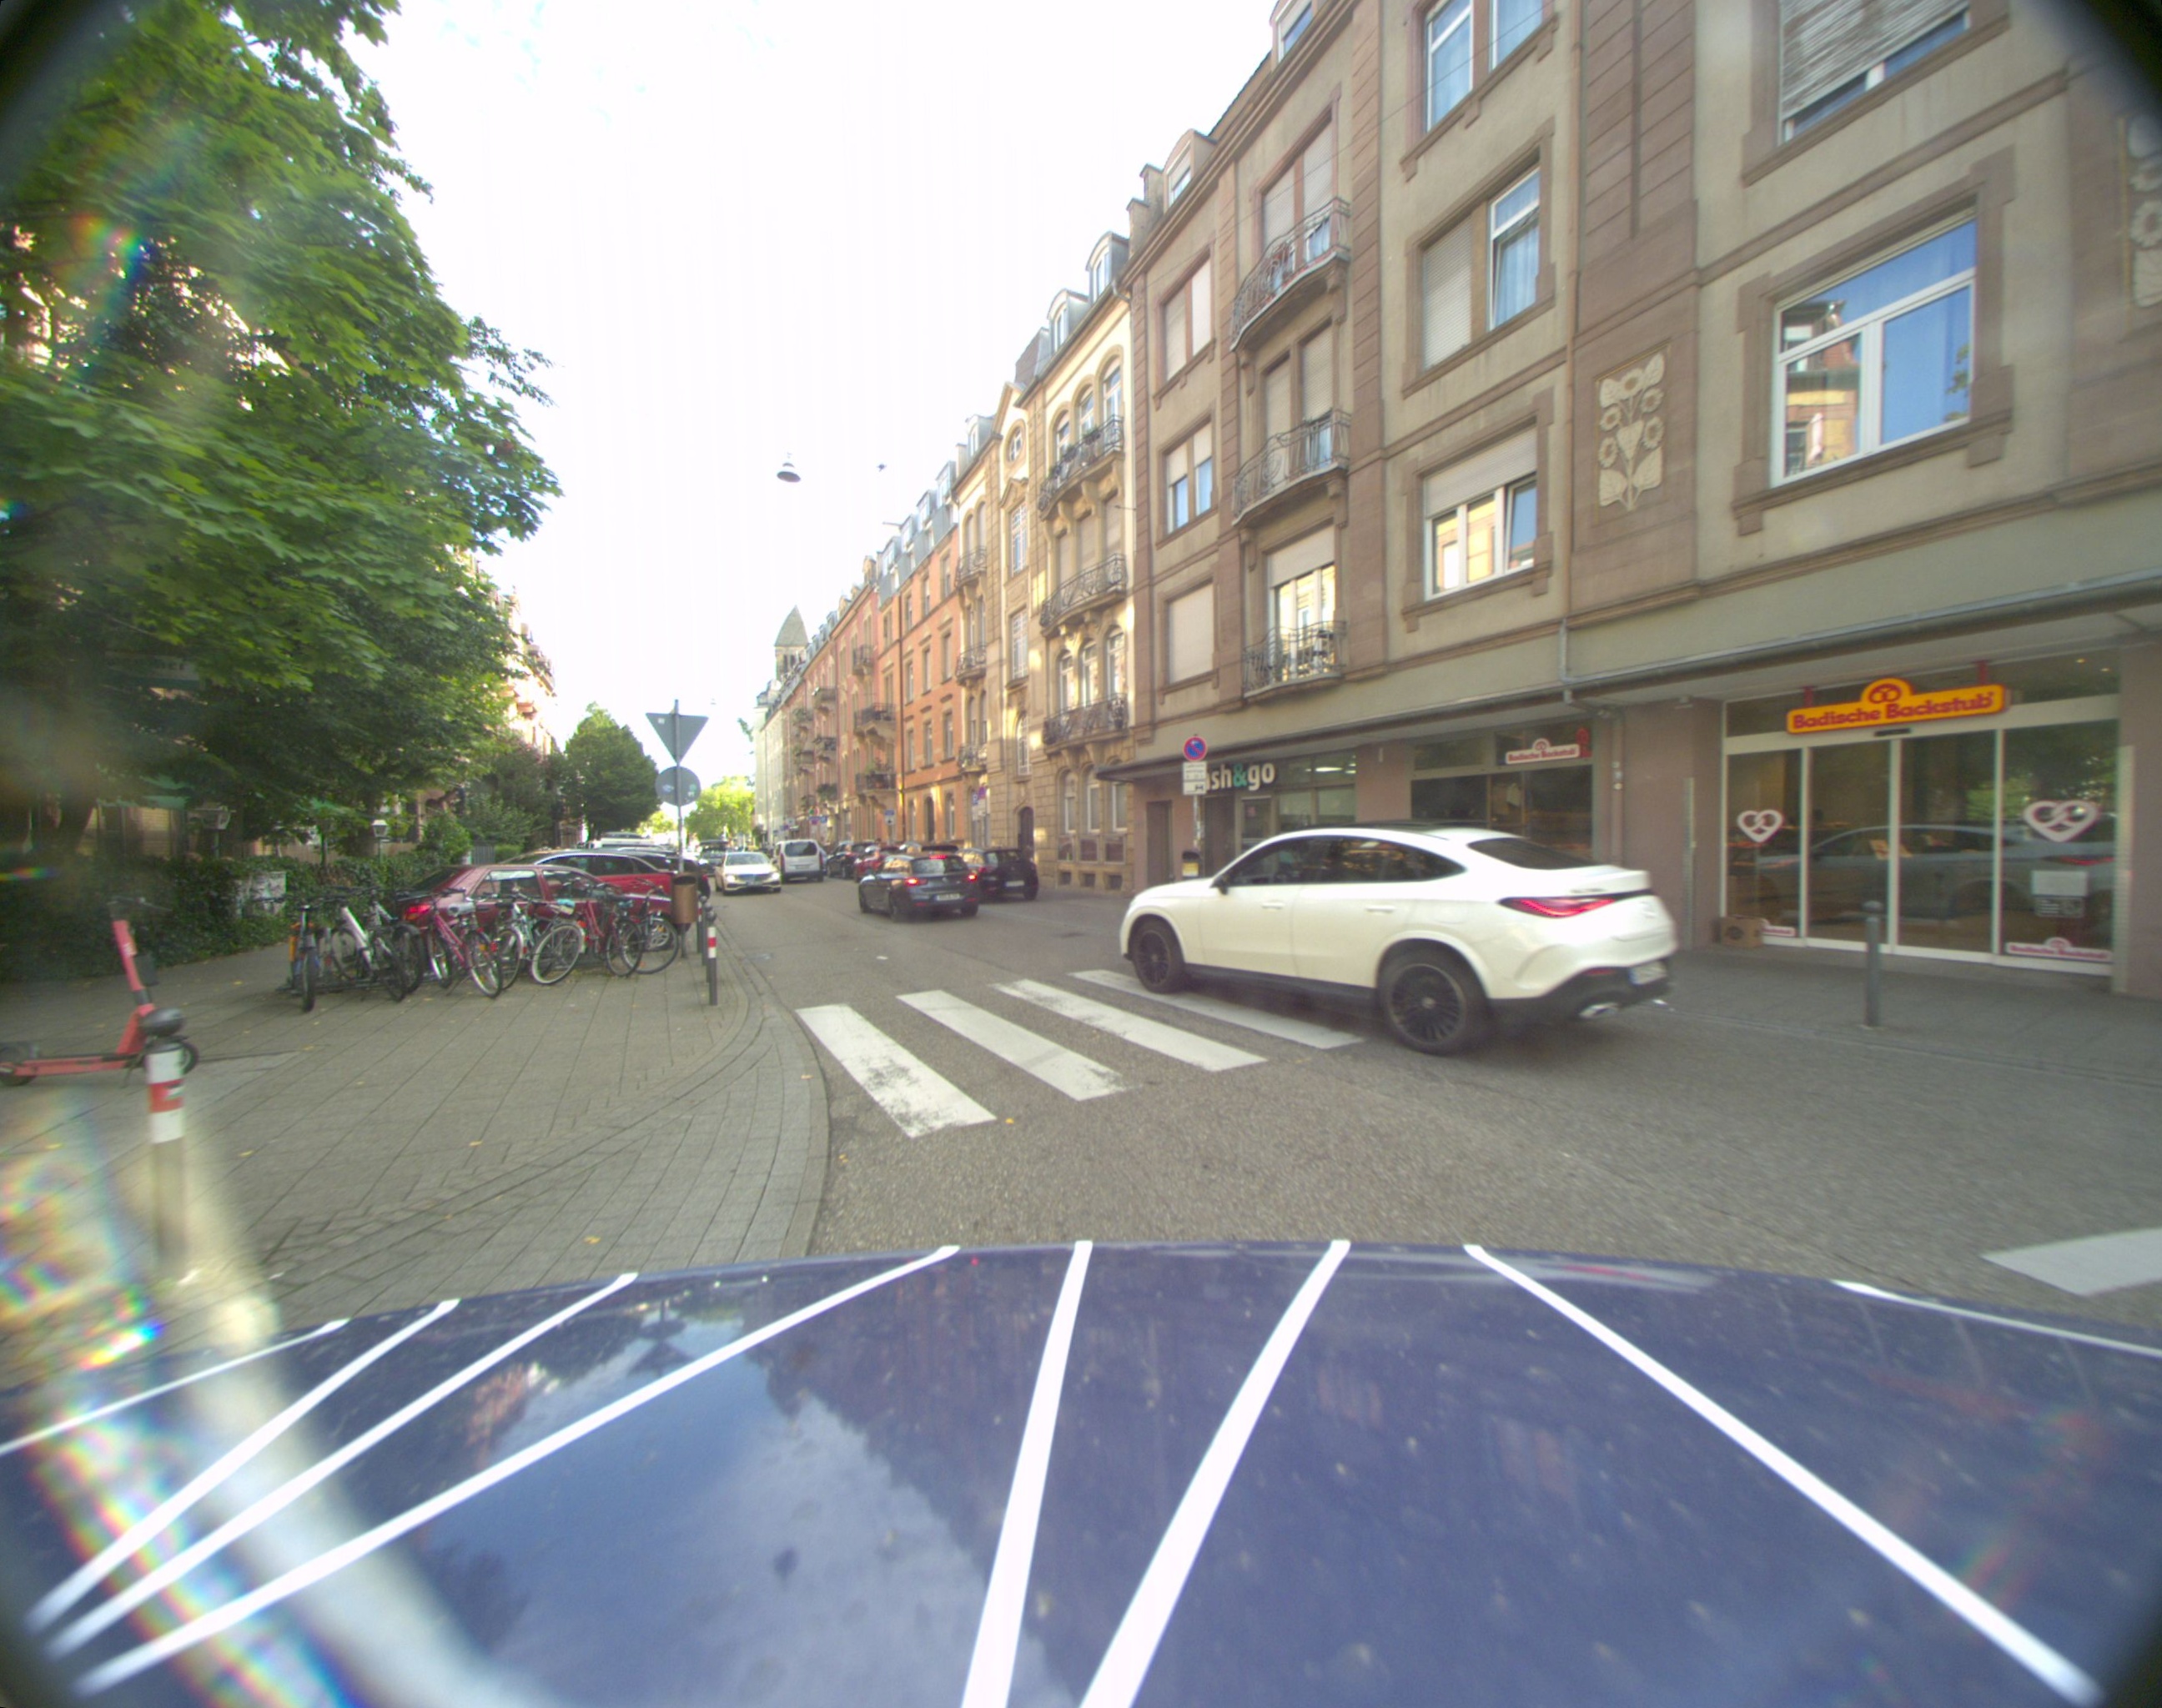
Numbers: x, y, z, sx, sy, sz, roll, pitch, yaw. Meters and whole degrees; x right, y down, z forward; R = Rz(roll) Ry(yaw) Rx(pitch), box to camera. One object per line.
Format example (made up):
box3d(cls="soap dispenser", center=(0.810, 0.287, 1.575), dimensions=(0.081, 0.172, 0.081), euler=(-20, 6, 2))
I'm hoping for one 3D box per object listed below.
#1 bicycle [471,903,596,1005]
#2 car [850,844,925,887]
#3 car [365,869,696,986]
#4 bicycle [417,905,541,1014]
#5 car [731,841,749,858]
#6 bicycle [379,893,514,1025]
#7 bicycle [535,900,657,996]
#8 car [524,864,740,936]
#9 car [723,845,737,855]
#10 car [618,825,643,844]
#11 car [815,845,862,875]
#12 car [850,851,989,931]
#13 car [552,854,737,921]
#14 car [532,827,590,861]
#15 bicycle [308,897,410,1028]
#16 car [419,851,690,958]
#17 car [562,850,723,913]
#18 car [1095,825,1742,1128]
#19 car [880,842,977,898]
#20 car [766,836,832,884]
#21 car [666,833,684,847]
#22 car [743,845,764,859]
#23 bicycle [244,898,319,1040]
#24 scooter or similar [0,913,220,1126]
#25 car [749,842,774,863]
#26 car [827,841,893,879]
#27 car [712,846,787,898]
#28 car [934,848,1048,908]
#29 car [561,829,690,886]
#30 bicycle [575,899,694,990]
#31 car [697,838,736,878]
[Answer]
box3d(cls="bicycle", center=(-6.369, 1.111, 8.804), dimensions=(1.860, 0.979, 0.473), euler=(1, 1, 31))
box3d(cls="car", center=(-7.602, 0.389, 29.634), dimensions=(1.765, 1.488, 4.123), euler=(-3, 2, -29))
box3d(cls="car", center=(-7.792, 0.922, 11.049), dimensions=(1.509, 1.372, 3.596), euler=(1, 0, 37))
box3d(cls="bicycle", center=(-6.569, 1.099, 8.260), dimensions=(1.834, 0.979, 0.419), euler=(1, 1, 31))
box3d(cls="car", center=(-41.106, -0.530, 91.547), dimensions=(1.730, 1.922, 4.002), euler=(-2, 1, -27))
box3d(cls="bicycle", center=(-6.518, 1.015, 7.775), dimensions=(1.834, 1.136, 0.476), euler=(1, 1, 31))
box3d(cls="bicycle", center=(-5.992, 1.114, 9.351), dimensions=(1.860, 0.979, 0.473), euler=(1, 1, 31))
box3d(cls="car", center=(-9.306, 0.873, 15.969), dimensions=(1.509, 1.315, 3.596), euler=(1, 0, 39))
box3d(cls="car", center=(-51.034, -0.561, 110.406), dimensions=(1.628, 1.371, 3.752), euler=(-2, 2, -27))
box3d(cls="car", center=(-44.180, -1.858, 74.494), dimensions=(1.854, 1.725, 3.989), euler=(-3, 2, -34))
box3d(cls="car", center=(-12.512, 0.279, 39.111), dimensions=(1.628, 1.371, 3.752), euler=(-3, 2, -28))
box3d(cls="car", center=(-3.753, 0.708, 17.027), dimensions=(1.773, 1.374, 4.440), euler=(-4, 3, -28))
box3d(cls="car", center=(-10.551, 0.760, 18.549), dimensions=(1.509, 1.456, 3.596), euler=(1, 0, 39))
box3d(cls="car", center=(-29.572, -0.601, 43.323), dimensions=(1.737, 1.792, 3.992), euler=(-3, 2, -21))
box3d(cls="bicycle", center=(-7.236, 1.023, 7.595), dimensions=(1.670, 1.094, 0.476), euler=(1, 1, 37))
box3d(cls="car", center=(-9.048, 0.777, 13.294), dimensions=(1.509, 1.606, 3.596), euler=(1, 0, 39))
box3d(cls="car", center=(-12.170, 0.731, 21.270), dimensions=(1.509, 1.603, 3.596), euler=(1, 0, 39))
box3d(cls="car", center=(2.379, 0.650, 6.673), dimensions=(2.003, 1.625, 4.831), euler=(-3, 1, -35))
box3d(cls="car", center=(-5.049, 0.428, 24.732), dimensions=(1.865, 1.576, 4.388), euler=(-3, 3, -28))
box3d(cls="car", center=(-12.499, 0.228, 33.488), dimensions=(1.948, 1.869, 4.824), euler=(-3, 2, -29))
box3d(cls="car", center=(-57.358, -1.939, 107.355), dimensions=(2.002, 1.878, 3.991), euler=(-3, 2, -26))
box3d(cls="car", center=(-33.758, -0.228, 78.250), dimensions=(1.628, 1.371, 3.752), euler=(-2, 2, -27))
box3d(cls="bicycle", center=(-7.542, 1.014, 7.147), dimensions=(1.670, 1.094, 0.435), euler=(1, 1, 42))
box3d(cls="scooter or similar", center=(-6.391, 1.001, 4.738), dimensions=(1.293, 1.203, 0.556), euler=(-1, 0, -8))
box3d(cls="car", center=(-29.227, -0.159, 69.446), dimensions=(1.688, 1.775, 4.010), euler=(-2, 1, -27))
box3d(cls="car", center=(-10.144, 0.237, 34.615), dimensions=(1.765, 1.589, 4.330), euler=(-3, 2, -31))
box3d(cls="car", center=(-12.004, 0.566, 27.345), dimensions=(1.948, 1.588, 4.824), euler=(-3, 2, -29))
box3d(cls="car", center=(-2.512, 0.567, 20.454), dimensions=(1.727, 1.361, 3.820), euler=(-3, 2, -28))
box3d(cls="car", center=(-21.416, 0.108, 35.987), dimensions=(1.995, 2.409, 4.746), euler=(-1, 2, 30))
box3d(cls="bicycle", center=(-5.734, 1.119, 9.718), dimensions=(1.860, 0.979, 0.473), euler=(1, 1, 31))
box3d(cls="car", center=(-19.957, 0.184, 41.687), dimensions=(1.796, 2.051, 3.991), euler=(-2, 1, -25))
